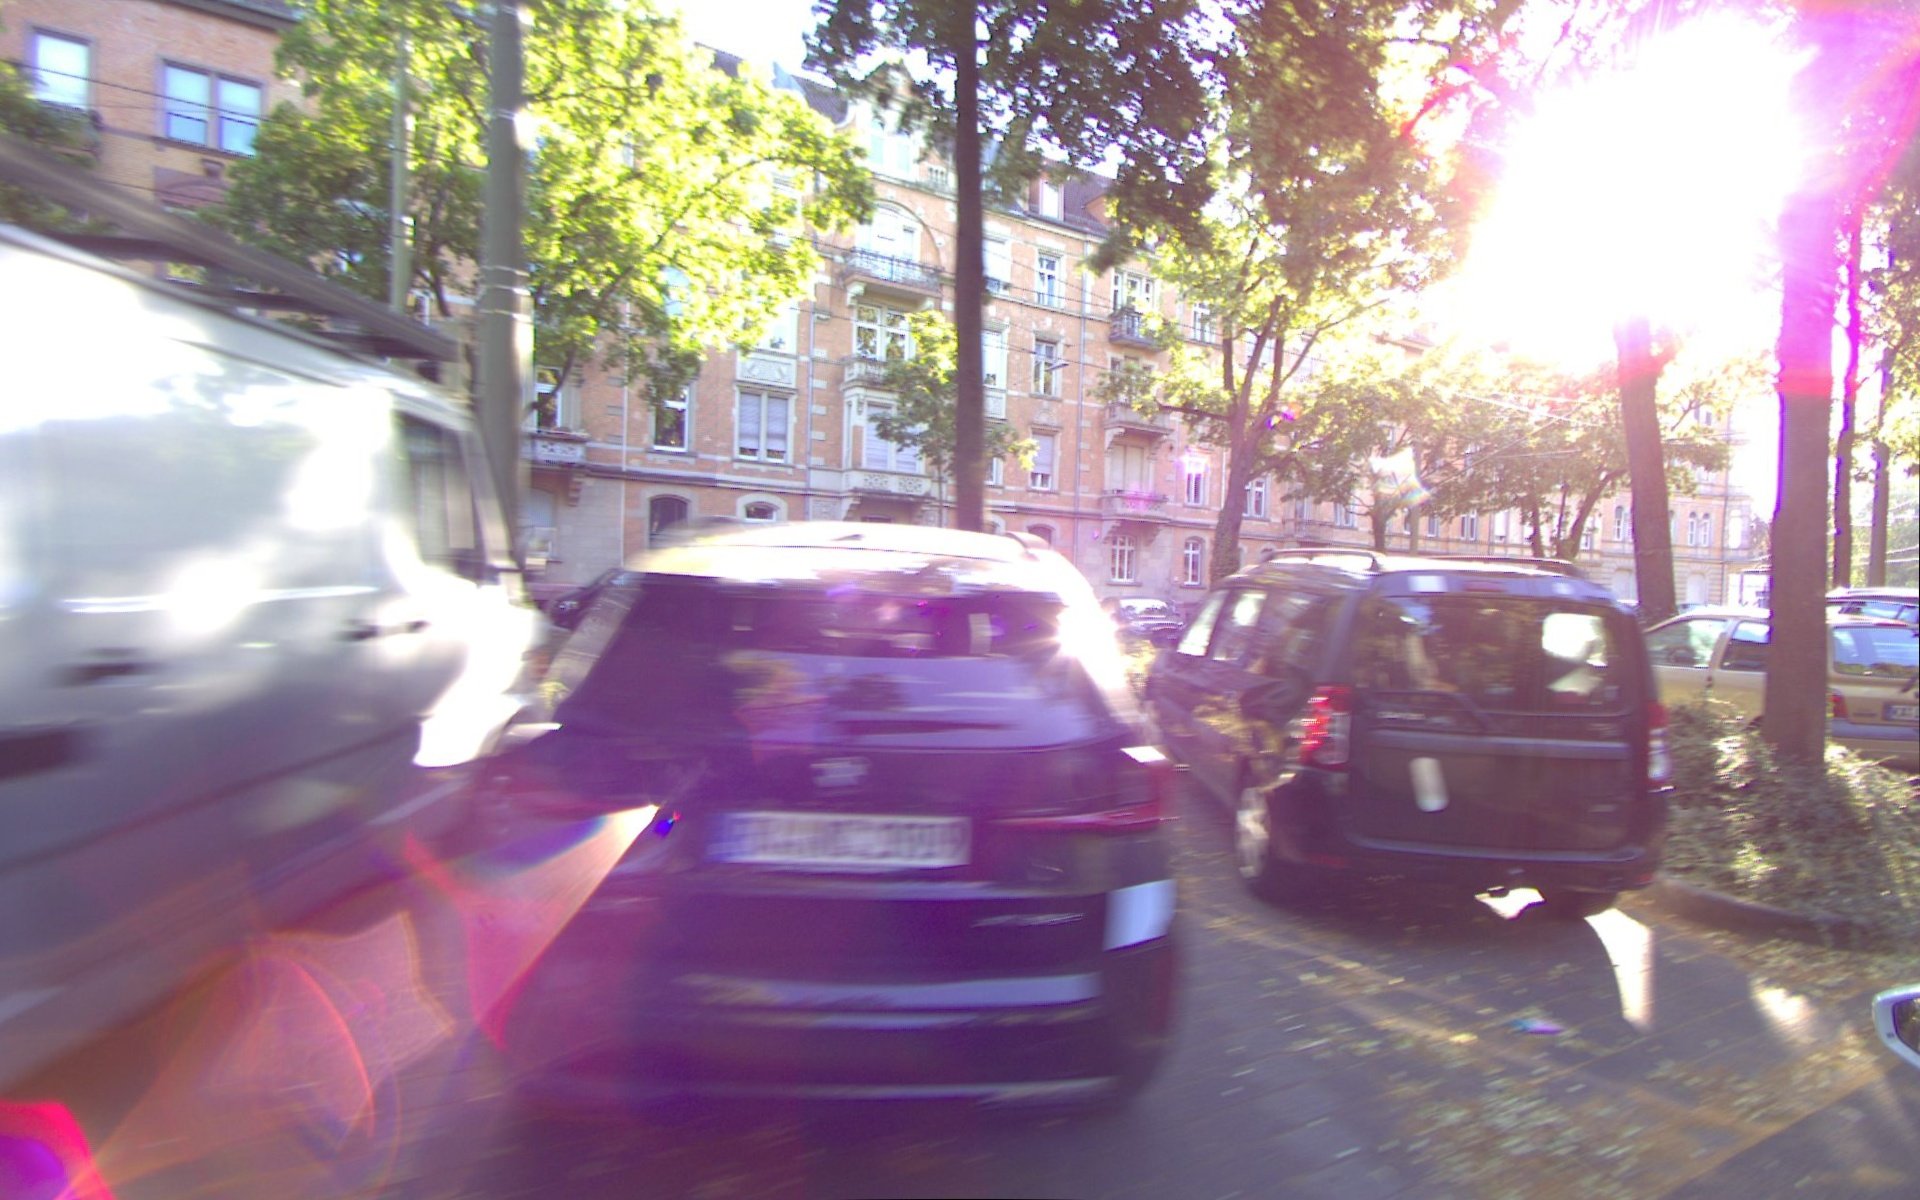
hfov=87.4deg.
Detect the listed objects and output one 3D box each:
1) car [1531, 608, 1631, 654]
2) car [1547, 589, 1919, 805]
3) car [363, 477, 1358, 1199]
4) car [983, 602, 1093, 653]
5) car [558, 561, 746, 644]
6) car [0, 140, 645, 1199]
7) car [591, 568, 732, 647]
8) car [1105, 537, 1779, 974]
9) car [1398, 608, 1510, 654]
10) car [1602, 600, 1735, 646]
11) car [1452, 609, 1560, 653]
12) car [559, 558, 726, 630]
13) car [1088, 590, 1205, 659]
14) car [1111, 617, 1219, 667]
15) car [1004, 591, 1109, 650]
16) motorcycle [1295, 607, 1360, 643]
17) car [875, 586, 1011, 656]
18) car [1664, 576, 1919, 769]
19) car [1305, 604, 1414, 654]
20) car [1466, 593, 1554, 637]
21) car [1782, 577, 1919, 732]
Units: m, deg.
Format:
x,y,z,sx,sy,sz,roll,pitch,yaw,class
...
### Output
x,y,z,sx,sy,sz,roll,pitch,yaw,class
24.605,1.192,39.968,1.628,1.662,3.650,2,0,-1,car
7.379,0.746,9.300,1.798,1.445,3.427,3,3,0,car
-0.414,0.509,4.238,1.899,1.638,4.513,3,3,-7,car
2.773,0.944,35.554,3.471,1.604,1.839,0,4,-33,car
-8.424,0.051,27.612,4.610,2.032,1.839,0,4,-33,car
-2.816,0.134,2.973,2.040,2.166,5.512,3,3,-1,car
-5.650,0.117,19.519,1.604,1.327,4.187,2,0,-2,car
2.212,0.505,6.199,1.818,1.638,4.517,3,3,-1,car
16.868,1.029,34.508,1.695,1.399,3.735,2,0,-6,car
30.170,0.926,43.000,2.045,1.788,4.834,2,0,-3,car
19.699,1.065,36.484,1.562,1.399,4.289,2,0,0,car
-8.596,-0.105,27.262,3.981,1.806,1.840,1,-1,-33,car
4.766,0.588,26.271,1.962,1.599,3.996,1,0,-5,car
7.798,1.559,38.183,3.958,1.799,1.783,1,-1,-34,car
2.338,0.456,25.400,1.565,1.335,3.992,2,0,-11,car
10.545,0.700,28.879,1.002,0.968,1.724,1,0,-11,motorcycle
-0.527,0.653,32.779,3.957,2.041,1.981,0,4,-33,car
9.814,0.698,10.547,1.877,1.666,4.160,3,3,1,car
12.550,0.862,31.809,1.675,1.399,3.736,2,0,-5,car
28.563,0.743,52.112,4.947,2.091,1.840,0,4,-33,car
12.545,0.733,12.186,1.846,1.805,4.161,4,3,5,car
